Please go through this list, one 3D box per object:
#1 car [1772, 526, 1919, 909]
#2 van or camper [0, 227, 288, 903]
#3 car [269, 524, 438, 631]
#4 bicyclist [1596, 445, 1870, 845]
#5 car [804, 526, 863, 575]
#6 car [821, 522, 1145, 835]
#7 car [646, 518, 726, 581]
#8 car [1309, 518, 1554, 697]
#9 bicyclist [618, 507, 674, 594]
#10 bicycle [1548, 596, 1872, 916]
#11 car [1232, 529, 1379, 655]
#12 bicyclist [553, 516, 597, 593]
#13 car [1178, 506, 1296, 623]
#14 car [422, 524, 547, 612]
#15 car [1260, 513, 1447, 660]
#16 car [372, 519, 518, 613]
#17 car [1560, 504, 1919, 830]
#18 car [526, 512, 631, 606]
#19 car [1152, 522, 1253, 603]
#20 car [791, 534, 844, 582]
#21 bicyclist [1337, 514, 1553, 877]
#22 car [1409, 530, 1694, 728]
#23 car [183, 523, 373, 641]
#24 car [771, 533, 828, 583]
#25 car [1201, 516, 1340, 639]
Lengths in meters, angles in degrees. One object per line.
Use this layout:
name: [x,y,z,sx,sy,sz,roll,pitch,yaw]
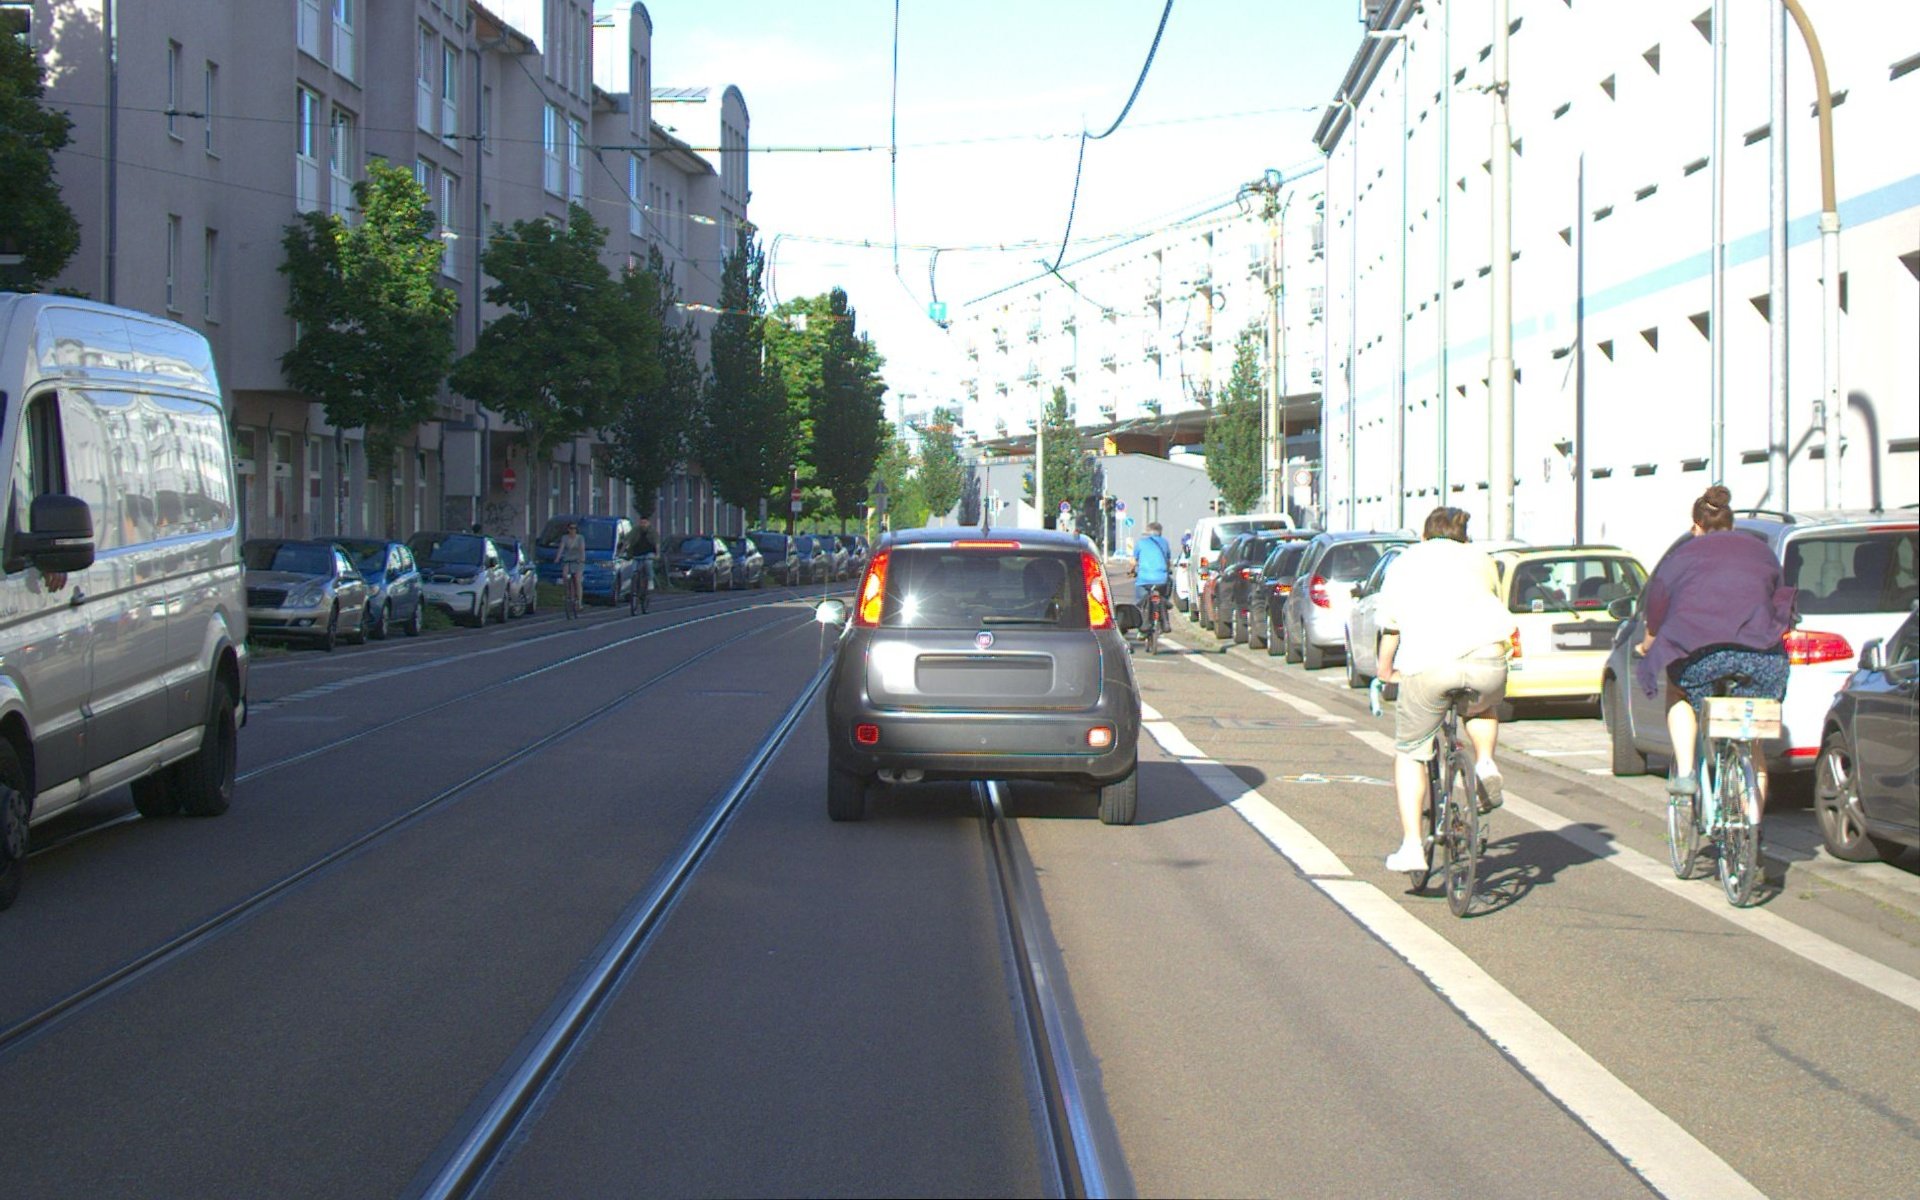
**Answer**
car: [4.866,0.463,14.547,1.864,1.549,4.366,-1,1,1]
van or camper: [-4.851,-0.183,15.600,2.369,2.544,6.835,1,1,-1]
car: [-9.140,-0.368,52.082,1.829,1.484,4.000,-2,1,-1]
bicyclist: [3.319,0.179,14.847,0.934,1.670,0.970,0,1,-1]
car: [-4.357,-1.719,118.688,1.844,1.640,3.697,0,1,1]
car: [0.044,0.348,18.650,1.556,1.527,3.487,0,1,-3]
car: [-7.134,-1.330,89.806,1.665,1.612,4.000,0,1,2]
car: [4.475,0.012,33.178,1.679,1.565,4.510,-1,1,0]
bicyclist: [-5.796,-0.921,63.480,0.881,1.556,0.868,-3,1,0]
bicycle: [3.281,0.639,15.299,0.821,1.232,2.462,2,1,-1]
car: [4.565,-0.140,45.790,1.591,1.532,4.007,-2,1,1]
bicyclist: [-7.091,-0.841,63.359,0.623,1.375,0.868,-4,1,0]
car: [4.880,-0.657,61.115,1.786,1.964,4.155,-1,1,1]
car: [-8.941,-0.630,64.918,1.829,1.588,4.000,0,1,-1]
car: [4.622,-0.198,40.850,1.754,1.565,3.904,-3,1,1]
car: [-8.952,-0.624,60.024,1.830,1.588,4.000,0,1,2]
car: [4.917,0.287,20.187,1.754,1.660,4.627,-2,1,-3]
car: [-8.195,-0.909,74.161,1.665,1.980,4.343,0,1,2]
car: [5.082,-0.811,72.430,1.844,1.640,4.549,0,1,1]
car: [-4.653,-1.397,112.563,1.591,1.535,3.191,0,1,1]
bicyclist: [2.008,0.374,14.342,0.727,1.457,1.021,0,1,-1]
car: [4.870,0.182,28.804,1.513,1.426,4.202,-4,1,-1]
car: [-9.124,-0.271,46.293,1.744,1.438,4.000,2,1,-1]
car: [-5.056,-1.341,108.554,1.591,1.535,3.191,0,1,1]
car: [4.599,-0.372,51.359,1.660,1.664,3.904,-3,1,1]
